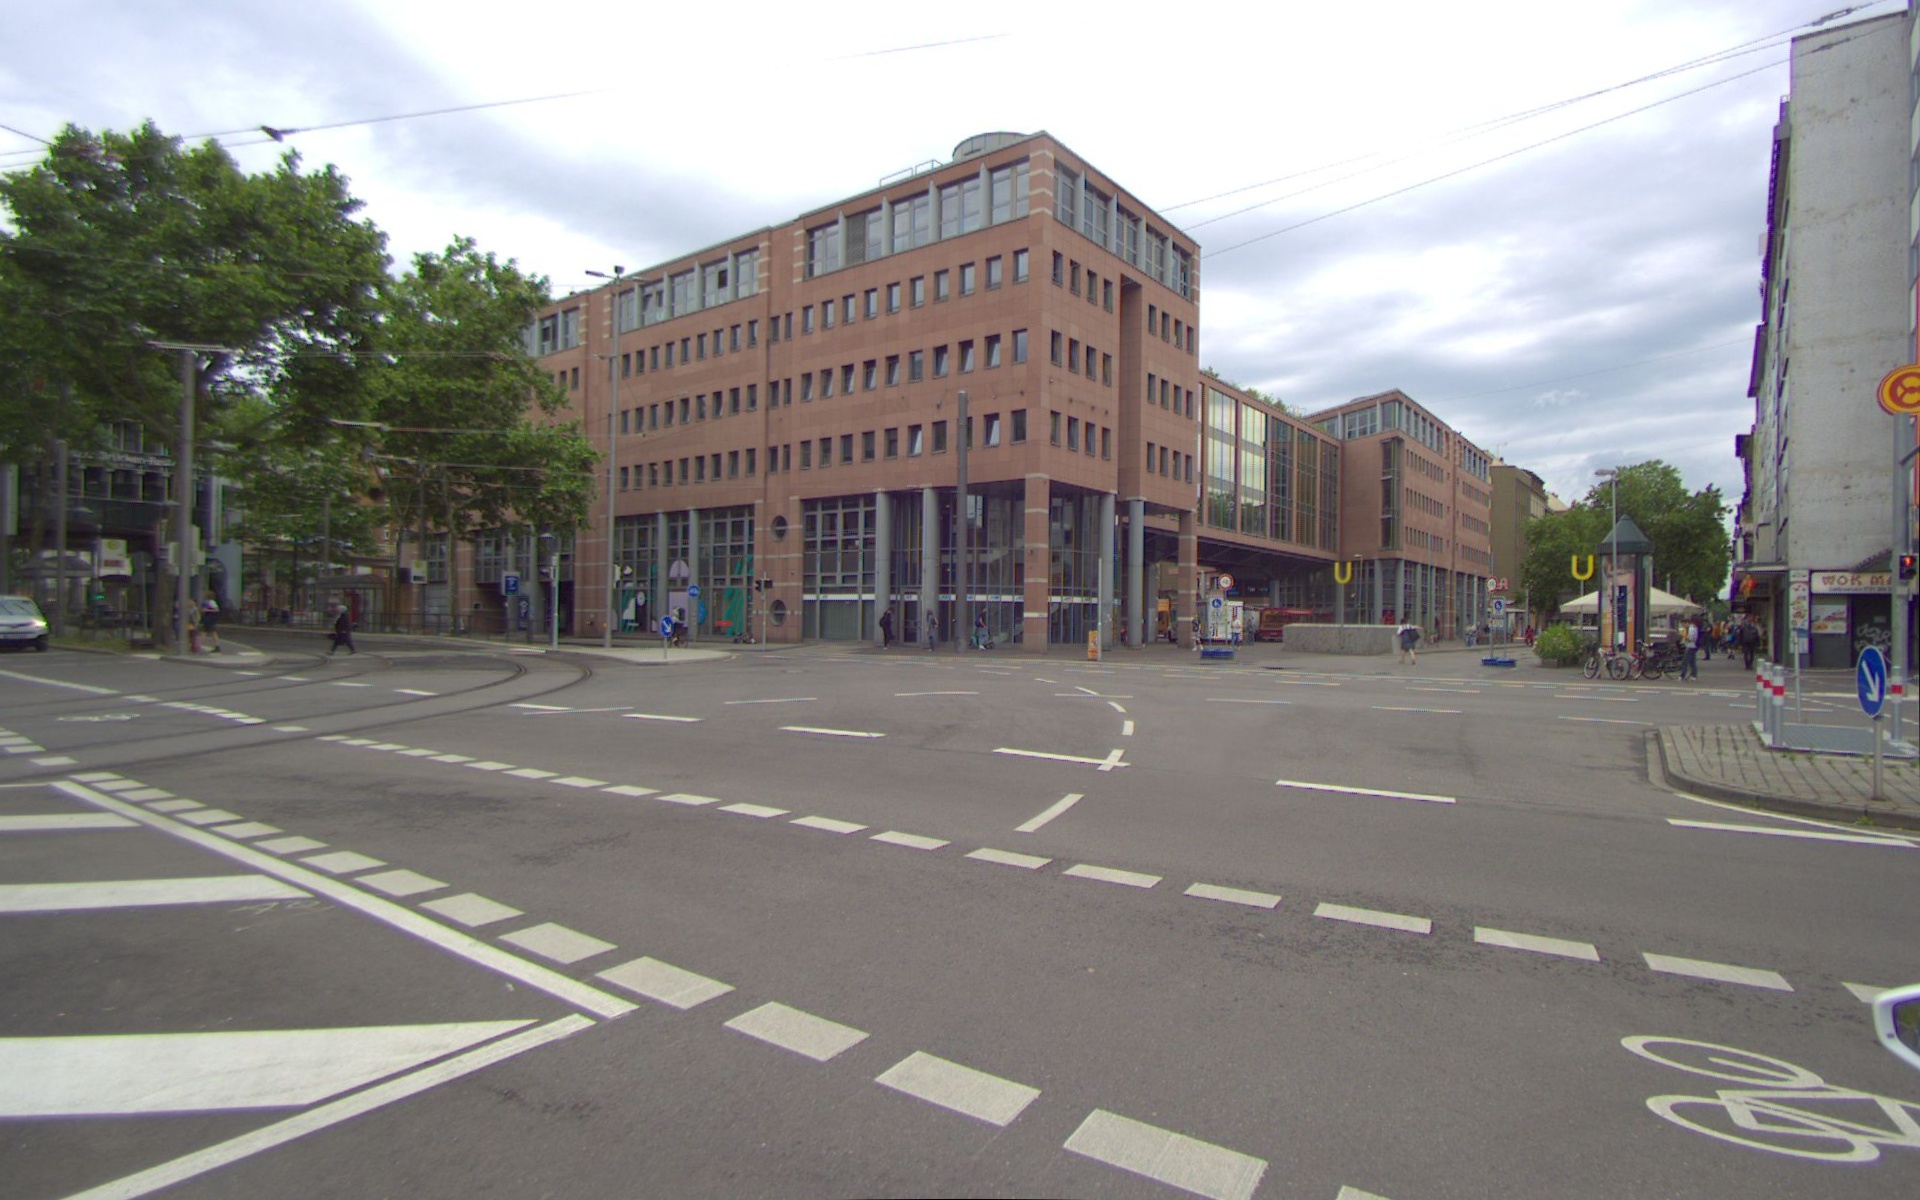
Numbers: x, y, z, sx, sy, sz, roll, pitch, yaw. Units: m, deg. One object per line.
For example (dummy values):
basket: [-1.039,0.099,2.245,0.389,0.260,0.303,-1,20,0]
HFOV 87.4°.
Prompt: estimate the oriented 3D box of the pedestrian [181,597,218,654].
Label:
pedestrian: [-22.448,0.756,29.655,0.564,1.633,0.629,2,-1,30]

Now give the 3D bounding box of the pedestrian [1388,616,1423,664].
pedestrian: [16.692,1.490,37.621,0.726,1.727,0.920,2,0,-32]

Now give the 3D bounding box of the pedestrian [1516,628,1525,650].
pedestrian: [45.481,3.155,81.553,0.592,1.737,0.654,2,0,31]

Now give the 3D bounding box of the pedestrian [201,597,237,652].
pedestrian: [-22.545,0.759,30.567,0.564,1.633,0.629,2,-1,30]

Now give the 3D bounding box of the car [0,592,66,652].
car: [-30.479,0.670,32.061,3.932,1.817,1.923,0,-1,33]

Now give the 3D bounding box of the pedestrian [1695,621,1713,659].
pedestrian: [34.305,1.829,46.322,0.635,1.727,0.556,2,0,39]

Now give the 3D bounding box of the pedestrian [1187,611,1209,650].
pedestrian: [11.674,1.482,49.347,0.727,1.866,0.695,2,0,-36]

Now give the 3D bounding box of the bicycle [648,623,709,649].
bicycle: [-12.360,1.557,44.007,3.228,1.058,0.900,1,-1,40]

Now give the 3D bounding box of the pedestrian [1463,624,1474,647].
pedestrian: [34.174,2.375,67.497,0.592,1.557,0.654,2,0,31]

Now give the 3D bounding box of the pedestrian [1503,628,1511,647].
pedestrian: [51.633,3.560,94.781,0.592,1.737,0.654,2,0,31]

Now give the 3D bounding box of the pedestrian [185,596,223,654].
pedestrian: [-21.437,0.711,28.495,0.564,1.595,0.629,2,-1,30]

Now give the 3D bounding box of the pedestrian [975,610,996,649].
pedestrian: [1.086,1.249,42.356,0.729,1.581,0.575,2,-1,12]

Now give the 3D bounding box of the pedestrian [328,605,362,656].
pedestrian: [-19.592,0.983,32.015,0.566,1.581,0.740,1,-2,43]

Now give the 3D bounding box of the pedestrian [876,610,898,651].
pedestrian: [-3.136,1.307,43.234,0.729,1.710,0.575,2,-1,12]

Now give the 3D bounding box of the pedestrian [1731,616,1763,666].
pedestrian: [27.456,1.428,35.053,0.728,1.727,0.704,2,0,-40]

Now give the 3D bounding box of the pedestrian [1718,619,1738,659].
pedestrian: [36.405,1.848,47.614,0.728,1.845,0.660,0,-1,36]

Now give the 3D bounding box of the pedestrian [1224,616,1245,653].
pedestrian: [14.183,1.761,51.881,0.726,1.866,0.696,2,0,-33]

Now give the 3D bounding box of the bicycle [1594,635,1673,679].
bicycle: [19.706,1.654,29.432,1.838,1.187,0.530,2,0,24]

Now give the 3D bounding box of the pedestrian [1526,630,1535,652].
pedestrian: [46.236,3.302,81.361,0.592,1.737,0.654,2,0,31]

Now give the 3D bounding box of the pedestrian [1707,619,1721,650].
pedestrian: [42.480,1.960,56.580,0.604,1.727,0.617,2,0,39]

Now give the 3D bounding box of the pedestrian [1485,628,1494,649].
pedestrian: [45.524,3.311,86.365,0.592,1.737,0.654,2,0,31]

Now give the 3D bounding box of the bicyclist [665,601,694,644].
bicyclist: [-12.280,0.965,43.996,0.864,1.836,0.833,2,0,41]

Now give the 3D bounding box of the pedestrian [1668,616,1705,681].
pedestrian: [20.471,1.354,28.314,0.721,1.769,0.662,2,0,30]

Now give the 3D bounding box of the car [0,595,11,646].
car: [-35.823,0.703,35.869,3.932,1.817,1.923,0,-1,33]

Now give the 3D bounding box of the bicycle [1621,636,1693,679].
bicycle: [20.511,1.679,29.587,1.671,1.187,0.436,2,0,32]

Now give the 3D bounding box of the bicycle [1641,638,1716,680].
bicycle: [20.531,1.674,28.710,1.678,1.080,0.434,1,0,45]
